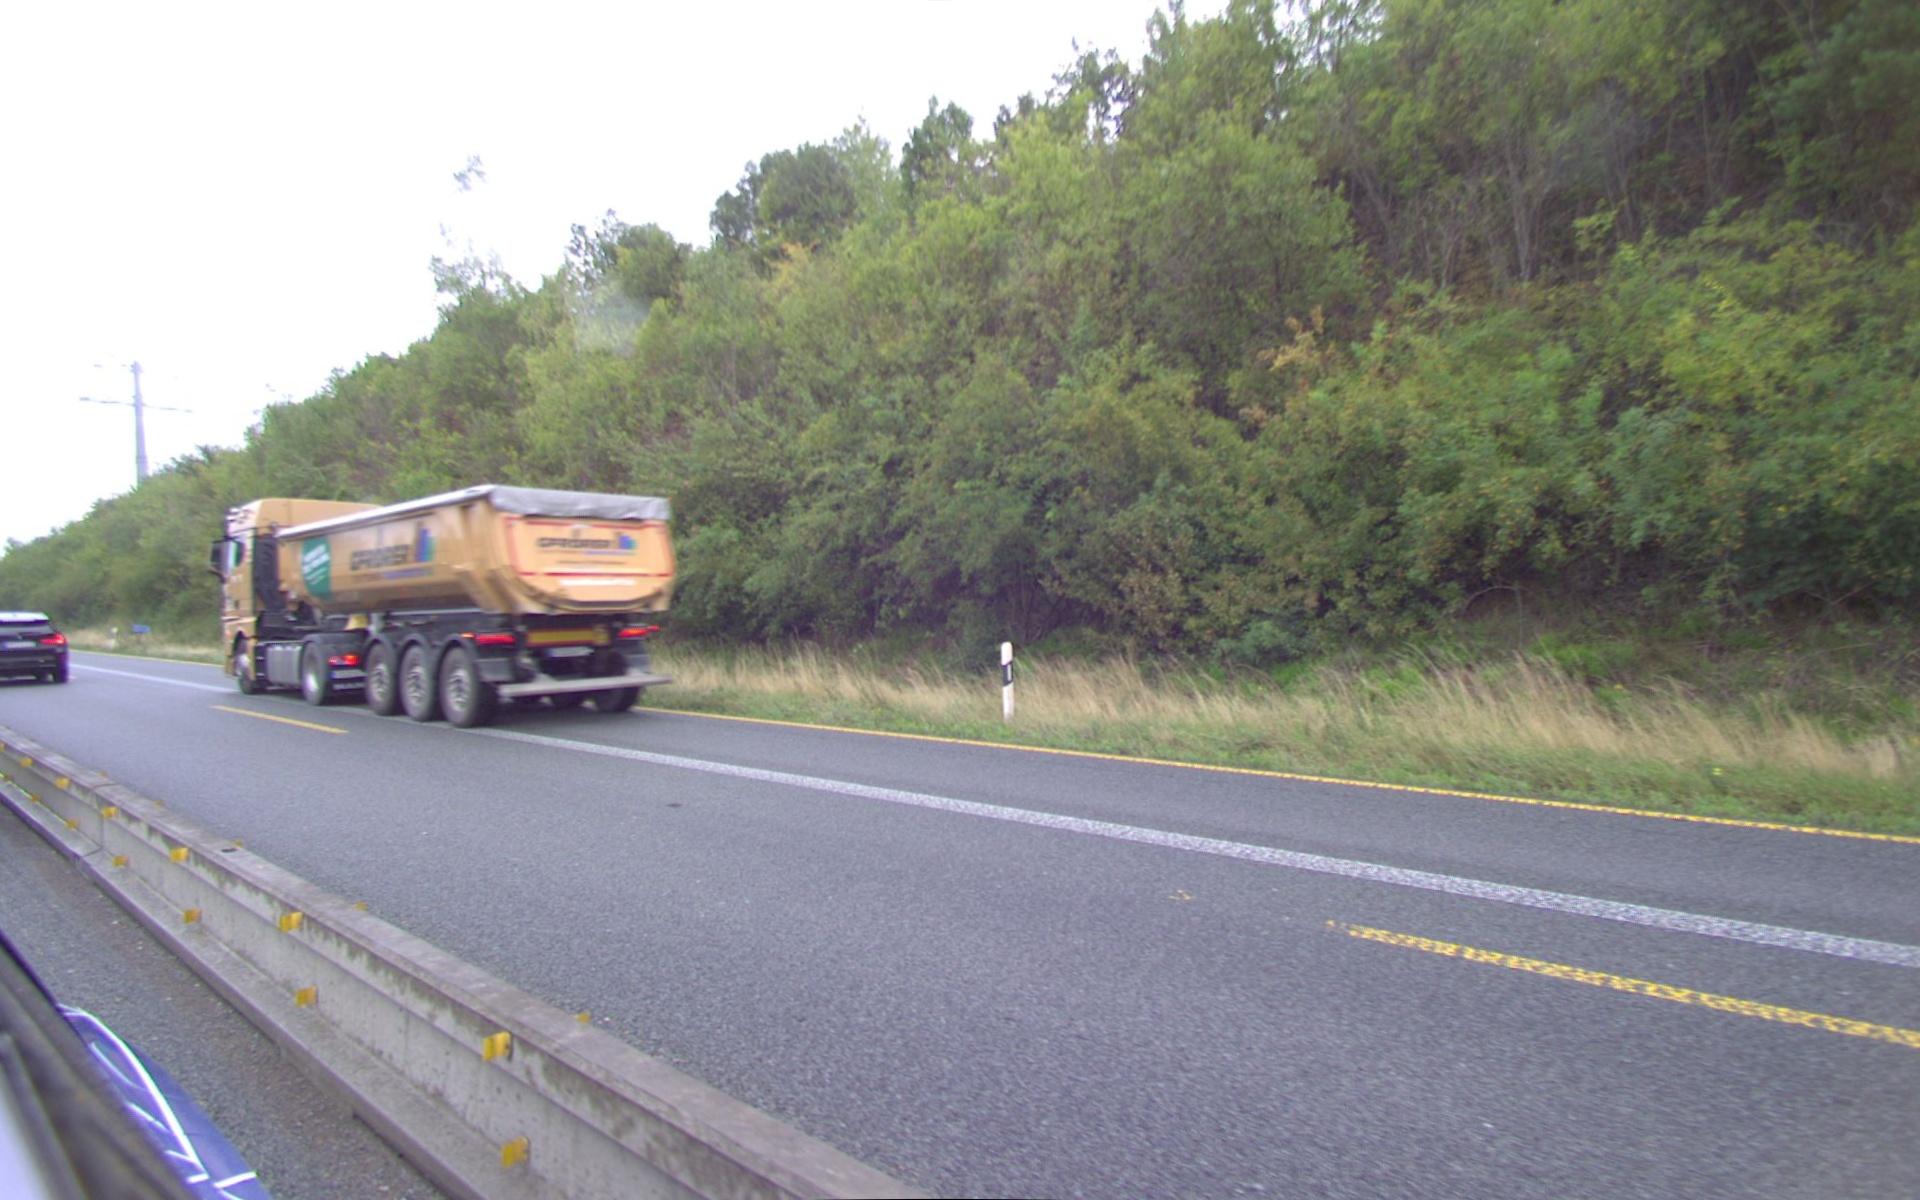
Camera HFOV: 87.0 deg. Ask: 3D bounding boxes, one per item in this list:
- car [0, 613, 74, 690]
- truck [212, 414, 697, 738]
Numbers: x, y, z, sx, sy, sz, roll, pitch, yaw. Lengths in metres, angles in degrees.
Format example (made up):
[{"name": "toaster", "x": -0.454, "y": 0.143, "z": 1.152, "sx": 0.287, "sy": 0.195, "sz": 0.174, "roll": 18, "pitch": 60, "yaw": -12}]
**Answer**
[{"name": "car", "x": -21.828, "y": 1.136, "z": 23.088, "sx": 4.118, "sy": 1.619, "sz": 1.915, "roll": -1, "pitch": 0, "yaw": 41}, {"name": "truck", "x": -9.010, "y": -0.219, "z": 16.569, "sx": 12.306, "sy": 3.684, "sz": 2.653, "roll": -1, "pitch": 0, "yaw": 41}]
